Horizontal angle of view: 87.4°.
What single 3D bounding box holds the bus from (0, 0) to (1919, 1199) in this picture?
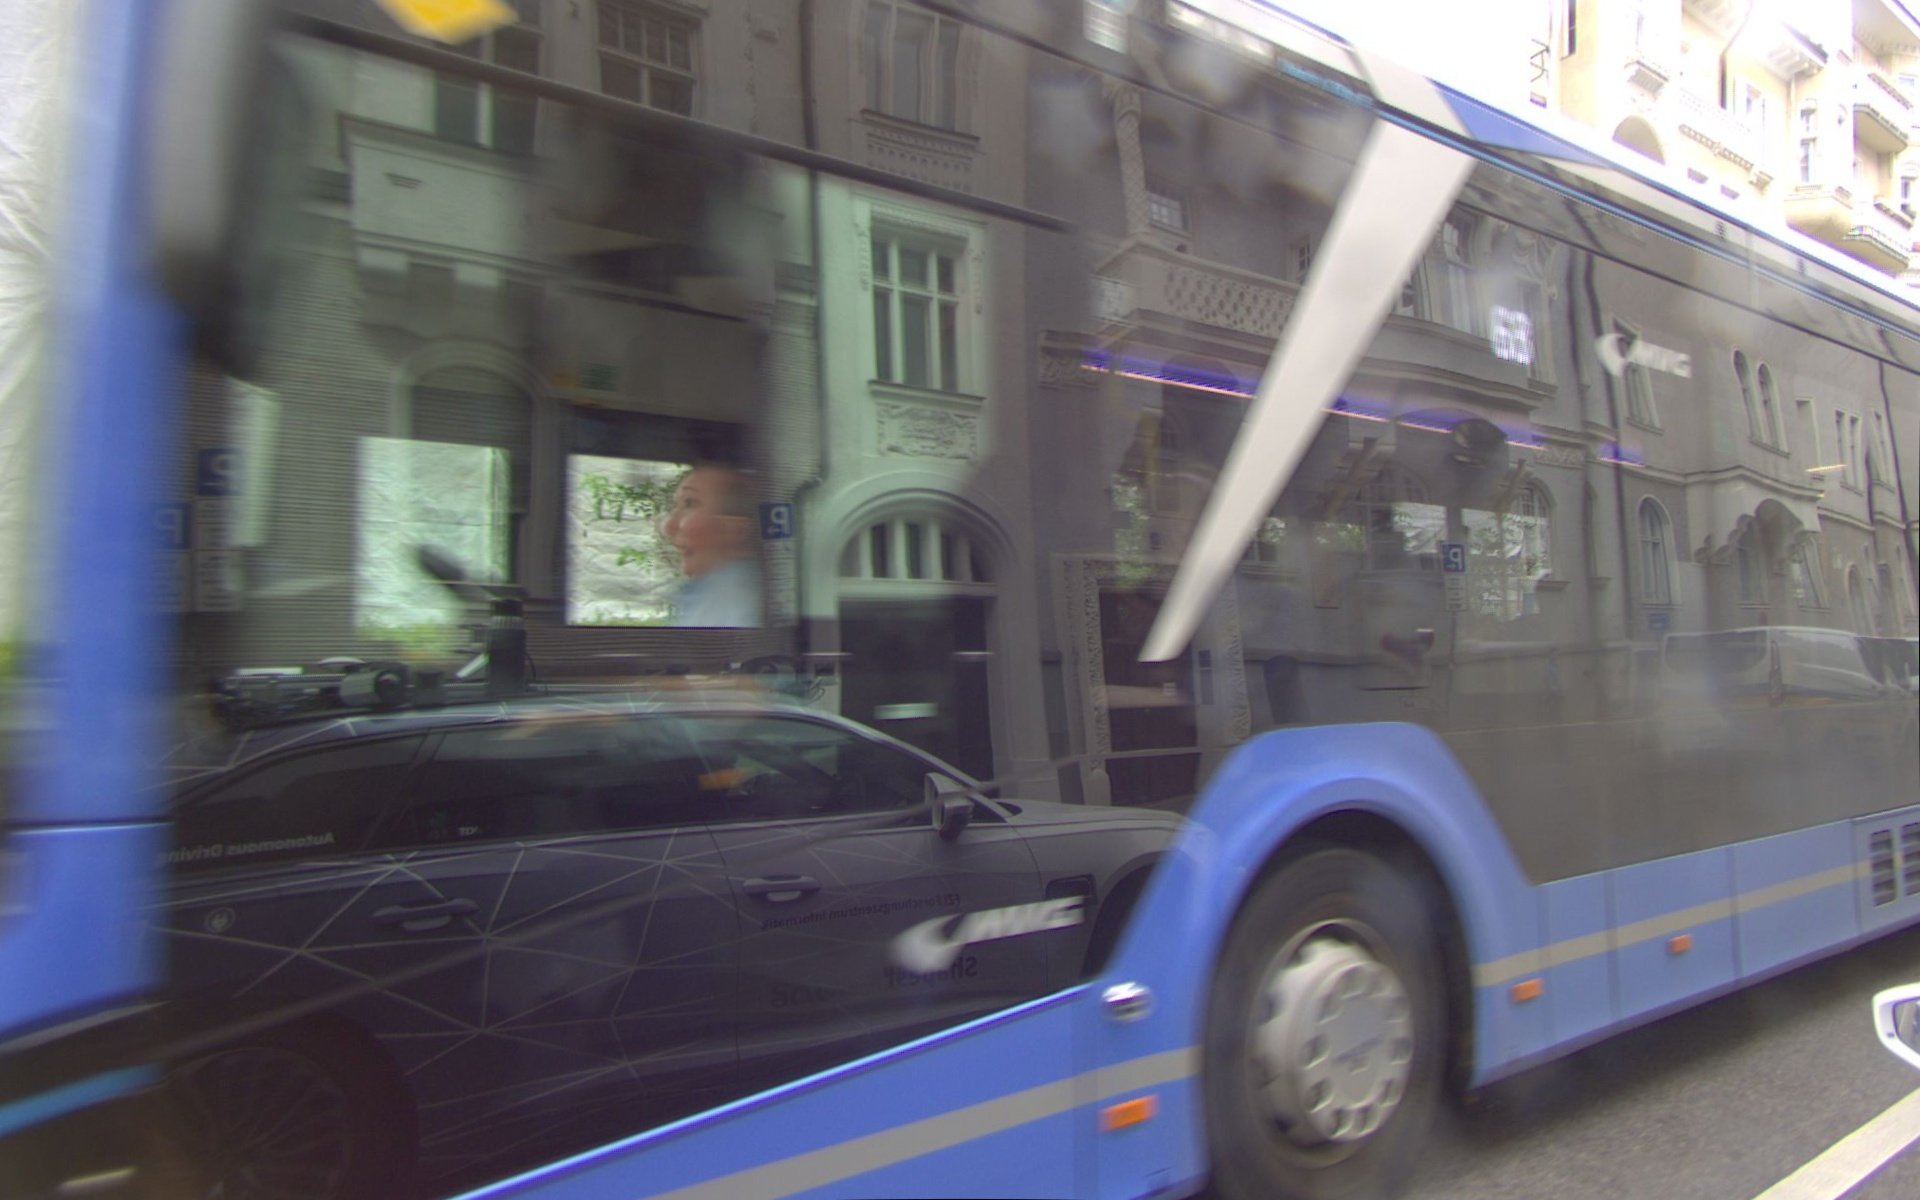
[{"bbox_3d":[5.635,0.144,6.986,17.842,3.254,3.158,1,-3,-30],"label":"bus"}]
